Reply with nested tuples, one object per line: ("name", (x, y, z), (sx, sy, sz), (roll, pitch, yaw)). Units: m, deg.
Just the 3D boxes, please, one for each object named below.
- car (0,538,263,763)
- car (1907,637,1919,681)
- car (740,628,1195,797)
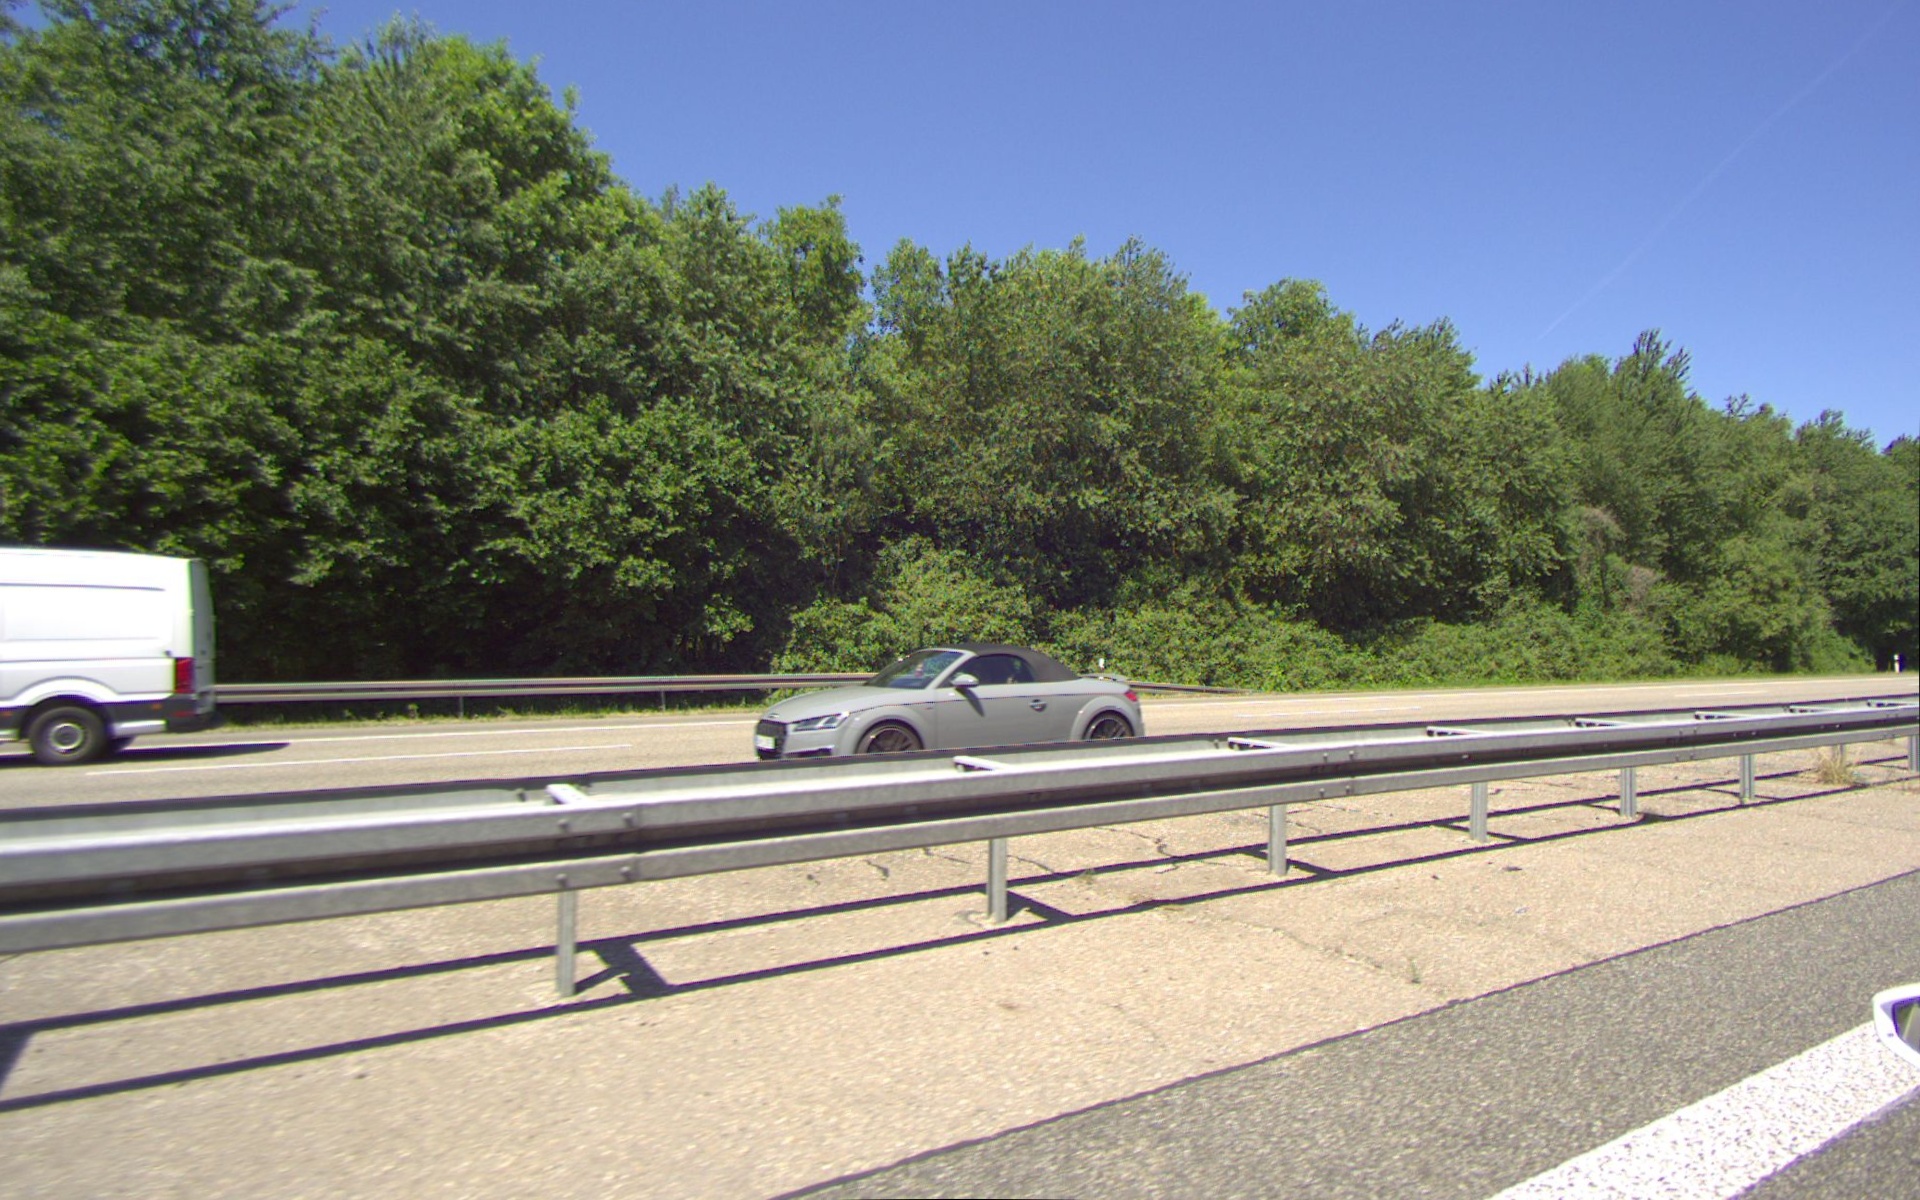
("car", (-12.251, 0.600, 12.054), (6.154, 2.586, 2.077), (1, -2, -31))
("car", (35.671, 2.094, 35.668), (4.769, 1.544, 1.811), (1, -2, -31))
("car", (0.148, 1.014, 10.294), (4.376, 1.401, 1.830), (1, -2, -30))
